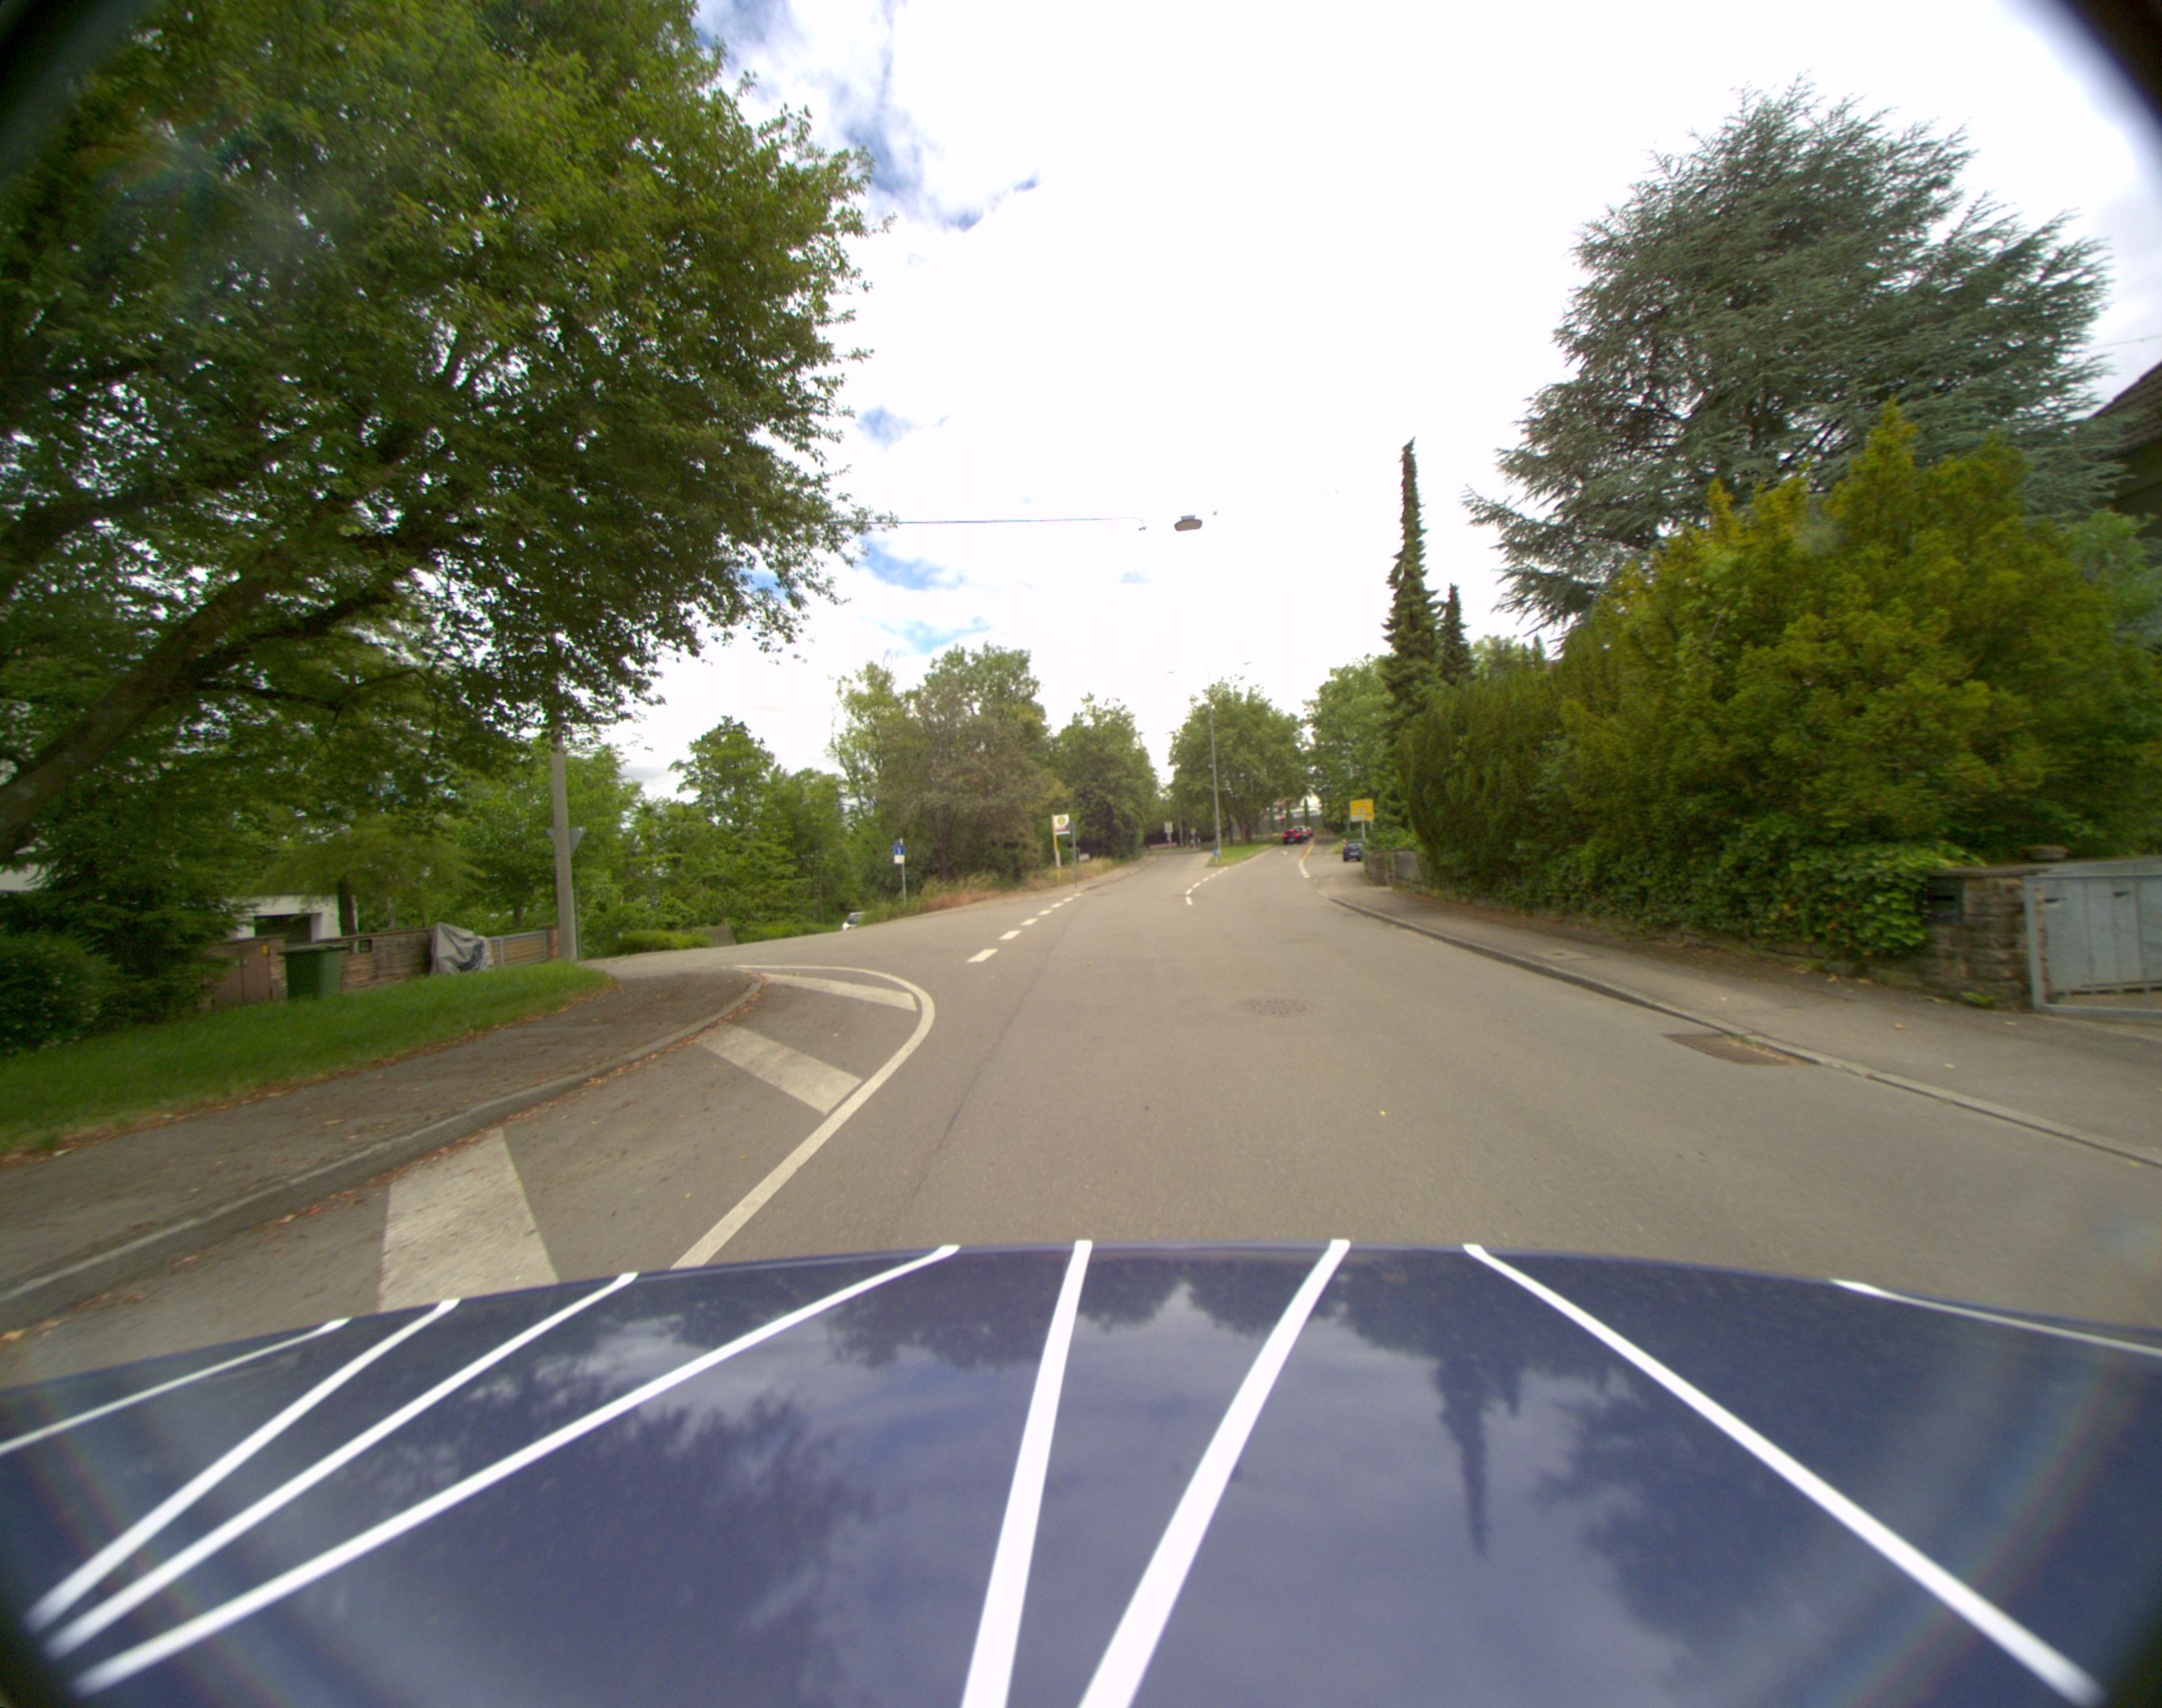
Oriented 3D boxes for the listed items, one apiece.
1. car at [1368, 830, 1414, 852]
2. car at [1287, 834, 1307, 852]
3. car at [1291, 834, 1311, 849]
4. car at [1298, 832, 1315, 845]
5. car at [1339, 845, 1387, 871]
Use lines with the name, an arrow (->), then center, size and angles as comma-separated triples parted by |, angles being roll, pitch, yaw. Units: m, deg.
car -> 22.400, -0.947, 54.842 | 1.728, 1.465, 4.286 | -2, 1, 42
car -> 23.911, -1.237, 84.021 | 1.759, 1.583, 4.617 | -3, 2, 21
car -> 27.003, -1.484, 93.131 | 1.853, 1.648, 4.914 | -3, -2, 20
car -> 29.470, -2.004, 99.344 | 1.759, 1.508, 4.392 | -3, 1, 21
car -> 18.634, 0.248, 50.084 | 1.728, 1.465, 4.322 | -2, 1, 37
